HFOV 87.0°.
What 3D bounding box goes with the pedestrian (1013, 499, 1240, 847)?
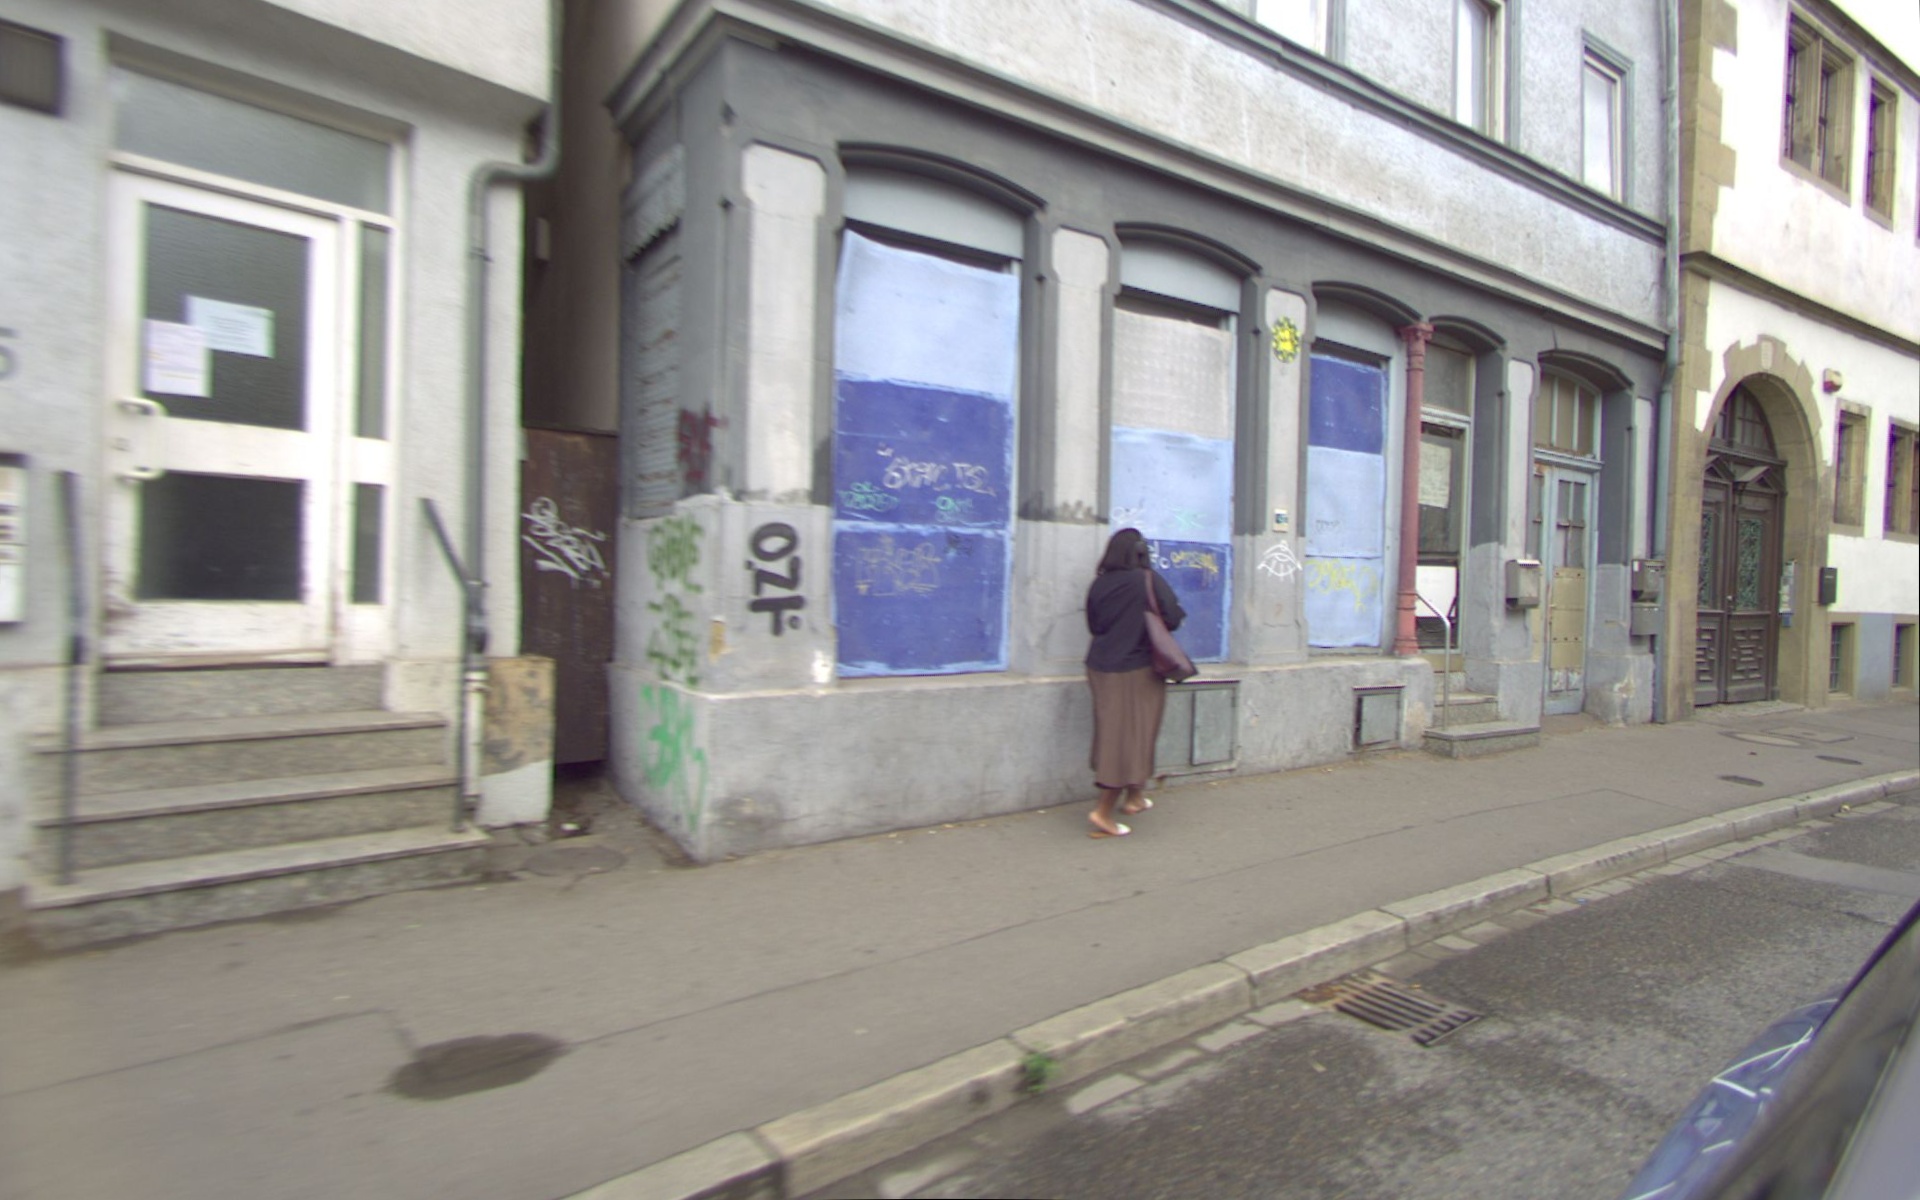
[{"bbox_3d":[0.875,0.336,5.406,0.793,1.687,0.758,2,3,-34],"label":"pedestrian"}]
